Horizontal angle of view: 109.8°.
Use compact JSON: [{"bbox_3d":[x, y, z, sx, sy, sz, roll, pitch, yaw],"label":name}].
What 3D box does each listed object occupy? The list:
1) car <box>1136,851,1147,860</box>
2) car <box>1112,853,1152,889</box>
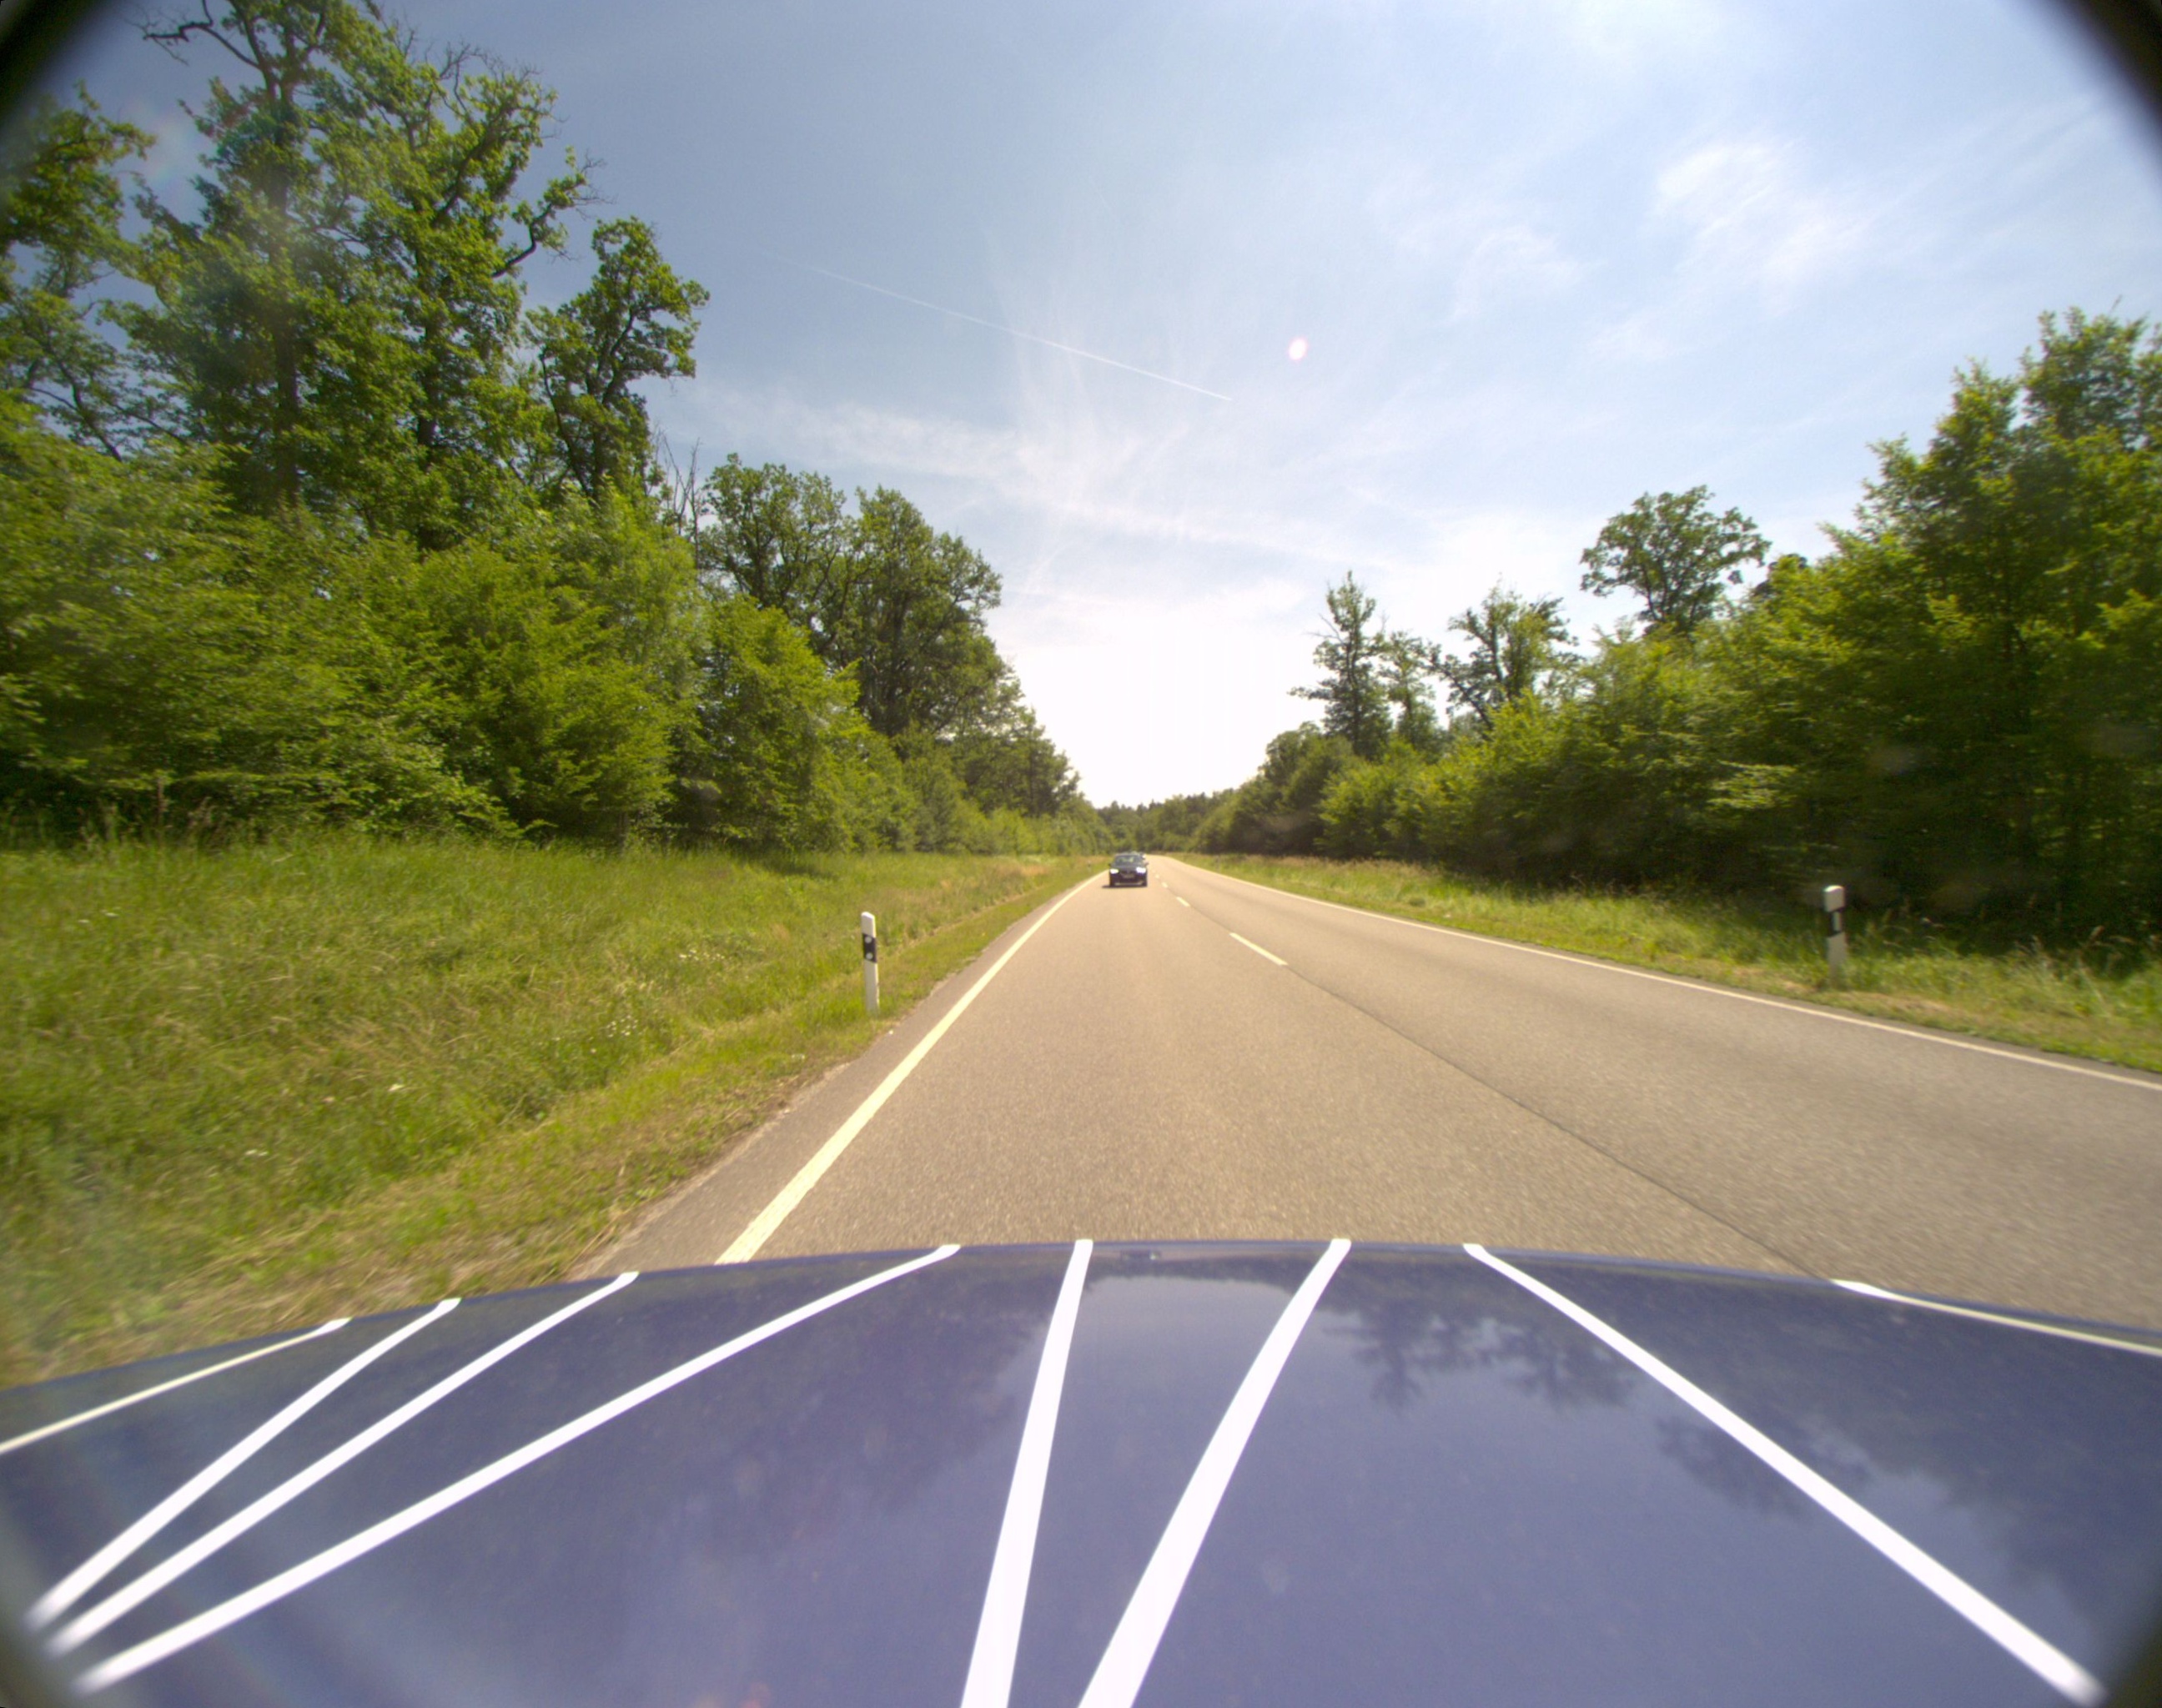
[{"bbox_3d":[11.051,0.262,139.435,1.776,1.454,3.949,-1,0,3],"label":"car"},{"bbox_3d":[2.391,0.745,35.683,1.713,1.516,4.242,-2,0,3],"label":"car"}]
